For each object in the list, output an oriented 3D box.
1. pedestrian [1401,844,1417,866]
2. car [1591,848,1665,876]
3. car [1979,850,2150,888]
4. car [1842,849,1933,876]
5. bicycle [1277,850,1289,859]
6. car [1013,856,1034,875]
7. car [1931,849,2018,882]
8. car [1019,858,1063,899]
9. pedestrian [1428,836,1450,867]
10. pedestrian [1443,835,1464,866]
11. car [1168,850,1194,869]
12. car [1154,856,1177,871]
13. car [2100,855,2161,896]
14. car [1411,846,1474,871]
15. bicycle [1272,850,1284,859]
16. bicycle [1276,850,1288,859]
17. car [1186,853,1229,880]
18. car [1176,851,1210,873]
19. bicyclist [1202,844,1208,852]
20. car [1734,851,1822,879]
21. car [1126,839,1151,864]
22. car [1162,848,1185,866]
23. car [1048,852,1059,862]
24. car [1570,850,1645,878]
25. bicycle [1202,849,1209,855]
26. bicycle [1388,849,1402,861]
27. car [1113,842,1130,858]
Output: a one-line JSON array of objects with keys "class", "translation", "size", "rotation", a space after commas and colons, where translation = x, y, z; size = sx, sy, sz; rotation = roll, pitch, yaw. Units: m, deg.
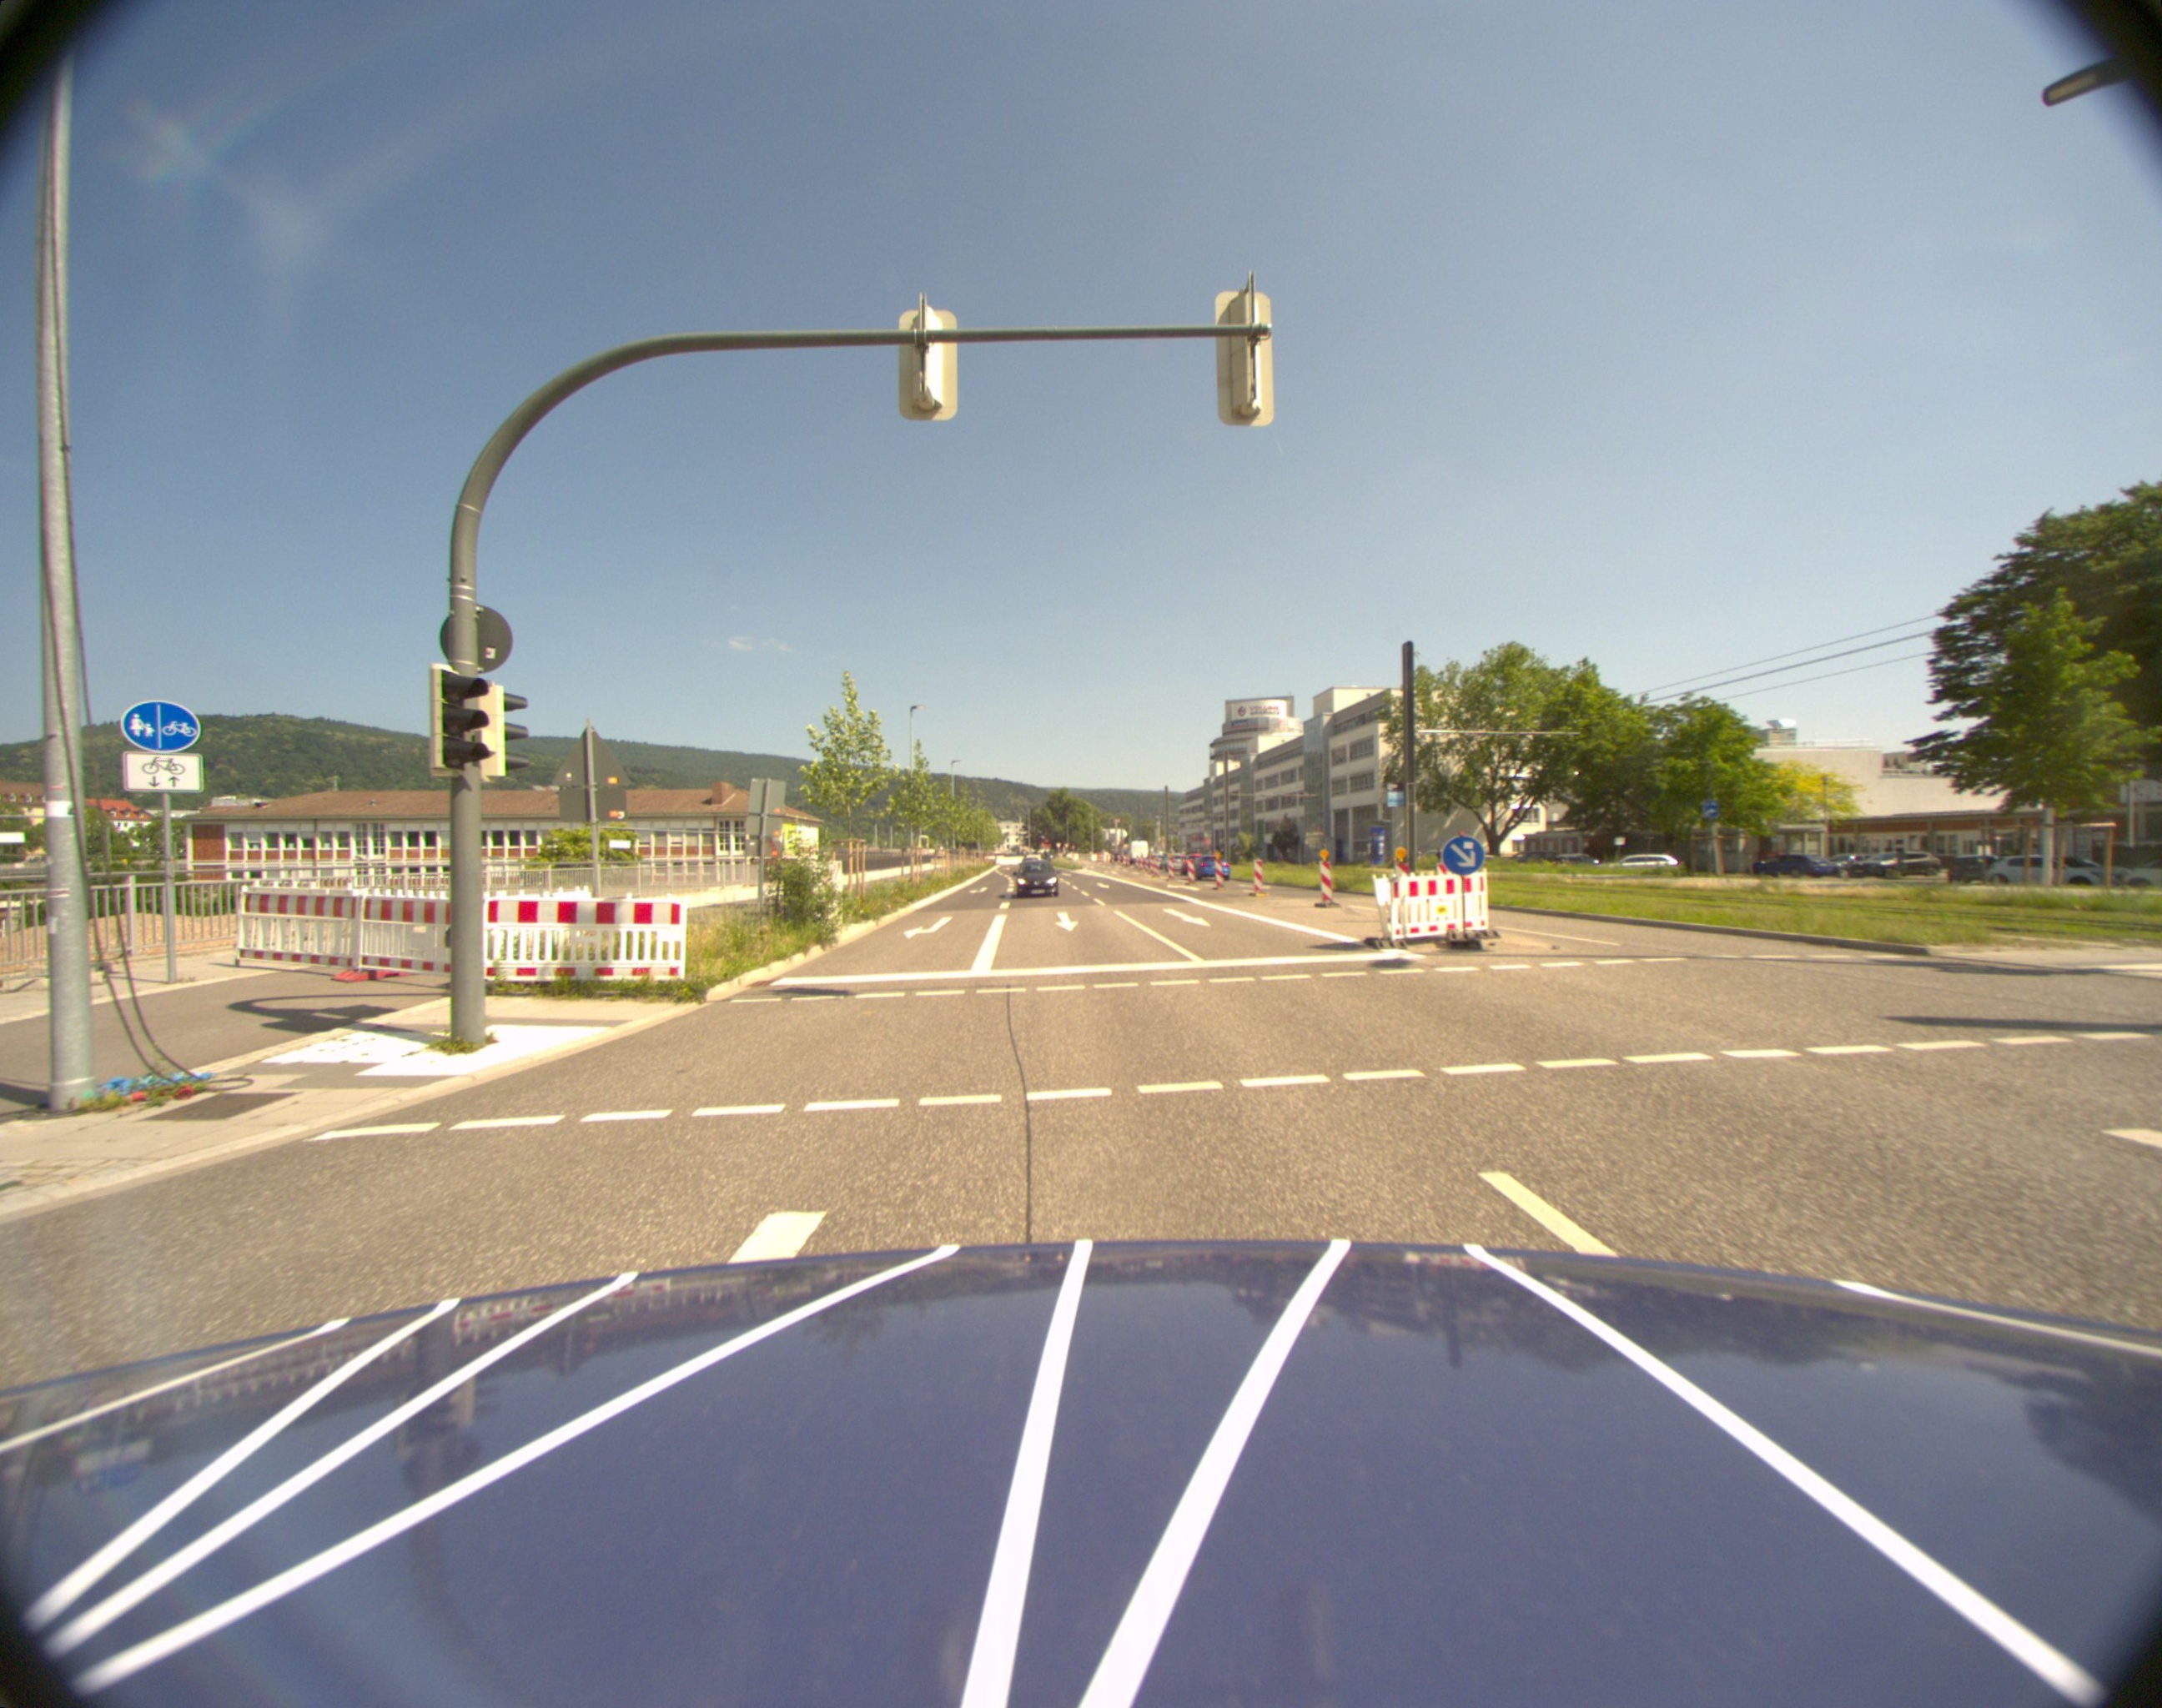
[{"class": "pedestrian", "translation": [24.598, 0.078, 56.955], "size": [0.816, 1.567, 0.826], "rotation": [-2, 1, 1]}, {"class": "car", "translation": [34.897, 0.491, 48.589], "size": [1.773, 1.581, 3.634], "rotation": [-3, 1, -9]}, {"class": "car", "translation": [41.210, 0.579, 32.010], "size": [1.543, 1.449, 4.266], "rotation": [-2, 0, -4]}, {"class": "car", "translation": [46.962, 0.468, 44.332], "size": [1.541, 1.444, 3.344], "rotation": [-3, 1, -5]}, {"class": "bicycle", "translation": [29.378, 0.069, 110.421], "size": [1.651, 1.182, 0.438], "rotation": [-3, 1, -3]}, {"class": "car", "translation": [-4.708, 0.908, 62.059], "size": [1.619, 1.433, 3.766], "rotation": [-1, 1, -4]}, {"class": "car", "translation": [43.314, 0.558, 36.827], "size": [3.755, 1.449, 1.541], "rotation": [-2, 0, -21]}, {"class": "car", "translation": [-1.645, 0.914, 30.431], "size": [1.619, 1.433, 3.704], "rotation": [-1, 1, -5]}, {"class": "pedestrian", "translation": [24.032, -0.158, 51.053], "size": [0.986, 2.002, 0.910], "rotation": [-2, 1, -1]}, {"class": "pedestrian", "translation": [25.040, -0.230, 51.060], "size": [0.841, 2.002, 0.983], "rotation": [-2, 1, -1]}, {"class": "car", "translation": [7.881, 0.429, 60.255], "size": [1.584, 1.408, 4.296], "rotation": [0, 1, 1]}, {"class": "car", "translation": [8.265, 0.906, 74.605], "size": [1.678, 1.435, 4.467], "rotation": [1, 1, -1]}, {"class": "car", "translation": [40.427, 0.795, 27.602], "size": [1.543, 1.449, 3.784], "rotation": [-2, 1, -8]}, {"class": "car", "translation": [33.020, 0.438, 69.548], "size": [5.064, 2.167, 2.117], "rotation": [-1, 1, 23]}, {"class": "bicycle", "translation": [29.521, 0.068, 114.038], "size": [1.650, 1.182, 0.522], "rotation": [-3, 1, 2]}, {"class": "bicycle", "translation": [29.755, 0.091, 112.702], "size": [1.650, 1.182, 0.438], "rotation": [-3, 1, 2]}, {"class": "car", "translation": [7.046, 0.655, 42.594], "size": [1.632, 1.419, 4.289], "rotation": [0, 0, -1]}, {"class": "car", "translation": [7.764, 0.519, 52.910], "size": [1.584, 1.408, 3.998], "rotation": [0, 1, -2]}, {"class": "bicyclist", "translation": [23.611, -1.075, 144.731], "size": [0.756, 1.531, 1.076], "rotation": [-2, 2, -3]}, {"class": "car", "translation": [42.529, 0.638, 46.443], "size": [1.773, 1.581, 3.634], "rotation": [-3, 1, -9]}, {"class": "car", "translation": [6.713, -0.310, 89.443], "size": [2.083, 2.724, 5.984], "rotation": [1, 1, -3]}, {"class": "car", "translation": [8.162, 0.243, 67.258], "size": [1.584, 1.521, 3.620], "rotation": [1, 1, 0]}, {"class": "car", "translation": [-4.498, 0.446, 124.551], "size": [1.619, 1.433, 3.766], "rotation": [-3, 1, -3]}, {"class": "car", "translation": [32.641, 0.571, 47.233], "size": [1.773, 1.581, 3.634], "rotation": [-3, 1, -9]}, {"class": "bicycle", "translation": [23.647, -0.385, 144.724], "size": [0.756, 1.012, 2.829], "rotation": [-2, 1, -3]}, {"class": "bicycle", "translation": [26.048, 0.069, 63.054], "size": [0.461, 0.980, 1.557], "rotation": [-1, 1, -1]}, {"class": "car", "translation": [6.596, -0.674, 123.963], "size": [2.036, 2.564, 6.192], "rotation": [1, 0, -2]}]
